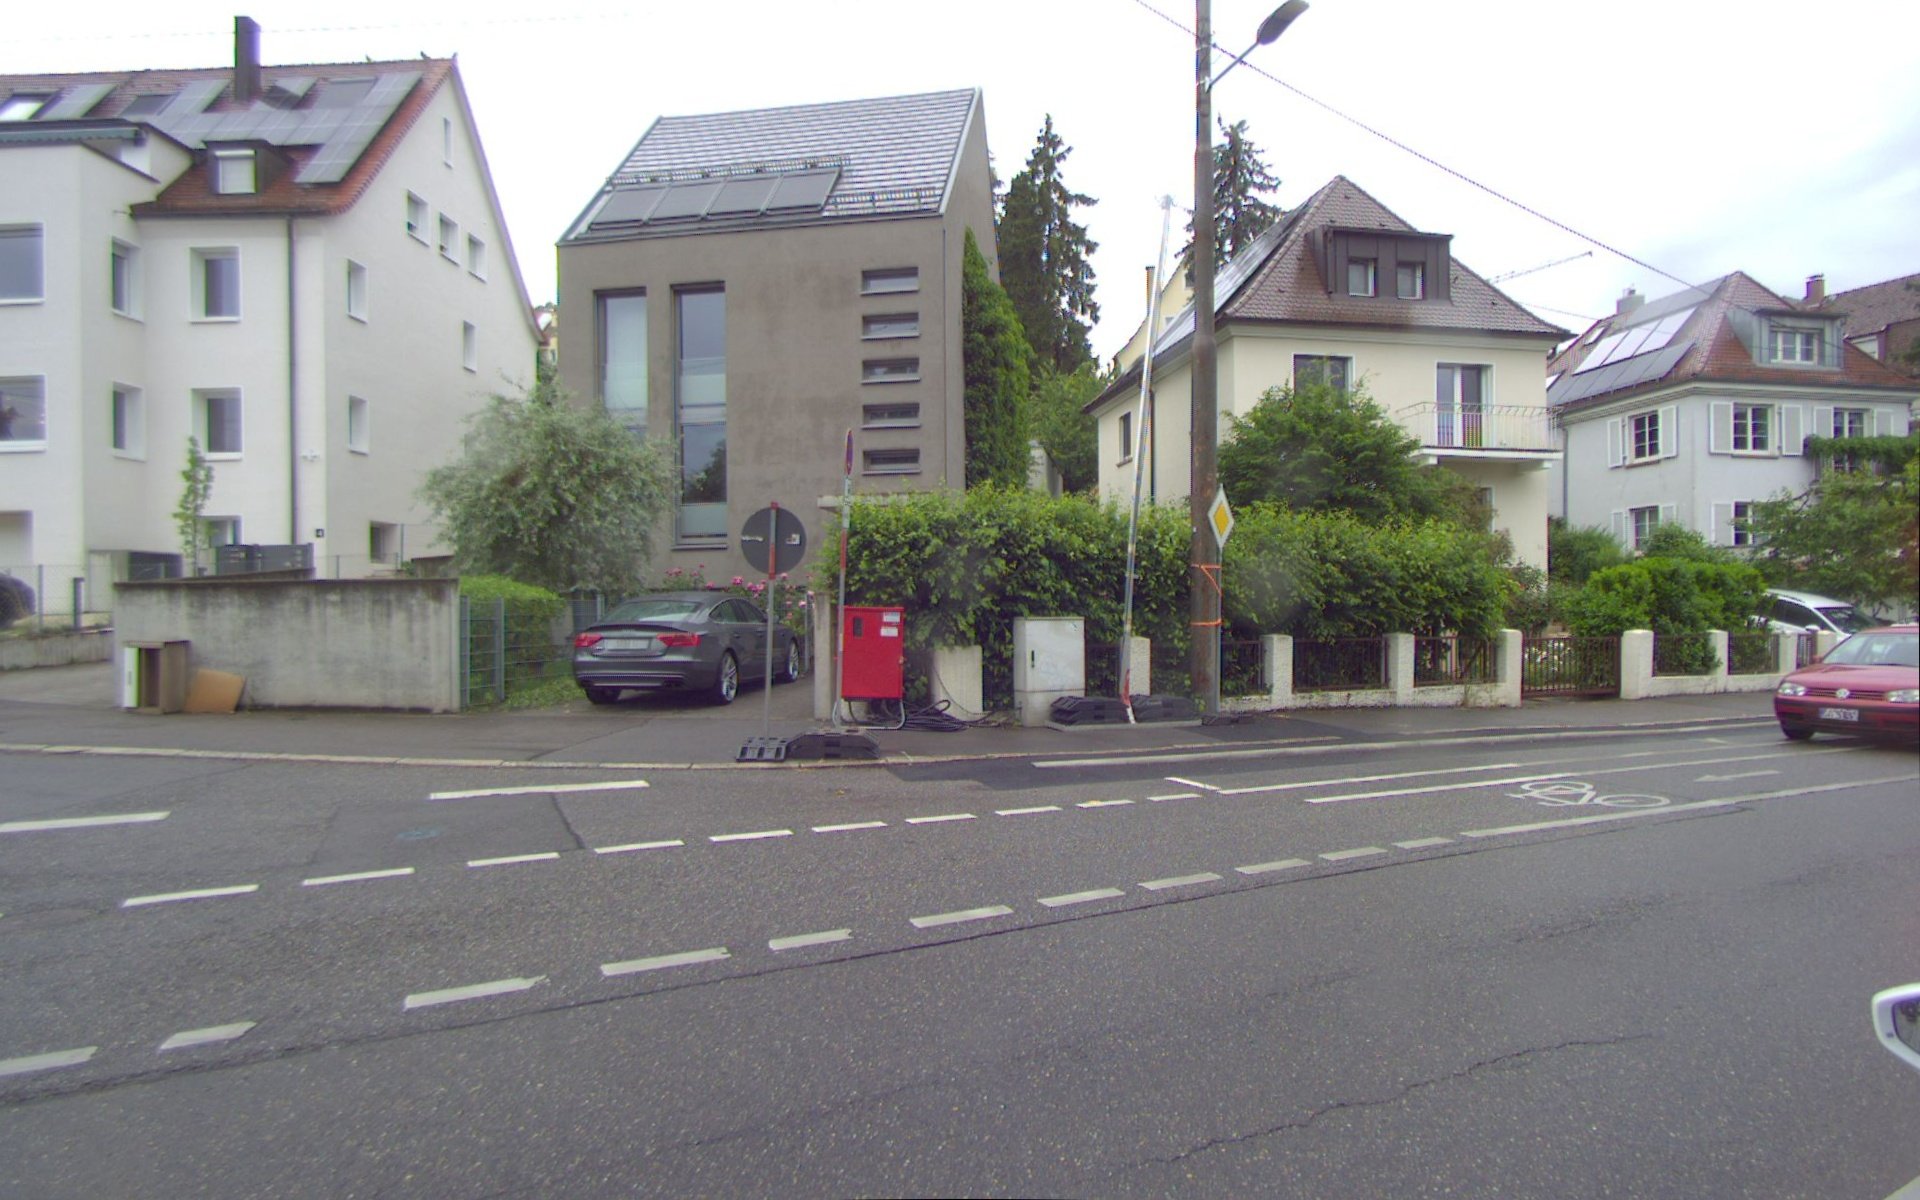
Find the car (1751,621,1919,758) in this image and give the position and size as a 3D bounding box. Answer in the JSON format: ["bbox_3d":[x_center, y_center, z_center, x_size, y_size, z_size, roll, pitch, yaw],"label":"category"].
[{"bbox_3d":[11.882,1.016,12.531,3.836,1.482,1.758,1,-1,-27],"label":"car"}]

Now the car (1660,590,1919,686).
[{"bbox_3d":[19.603,0.815,23.914,1.870,2.033,4.628,1,0,-18],"label":"car"}]

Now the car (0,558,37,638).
[{"bbox_3d":[-16.724,0.055,15.171,1.576,1.298,4.008,2,4,6],"label":"car"}]

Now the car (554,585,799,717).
[{"bbox_3d":[-3.601,0.566,13.578,1.740,1.506,4.002,0,1,7],"label":"car"}]
